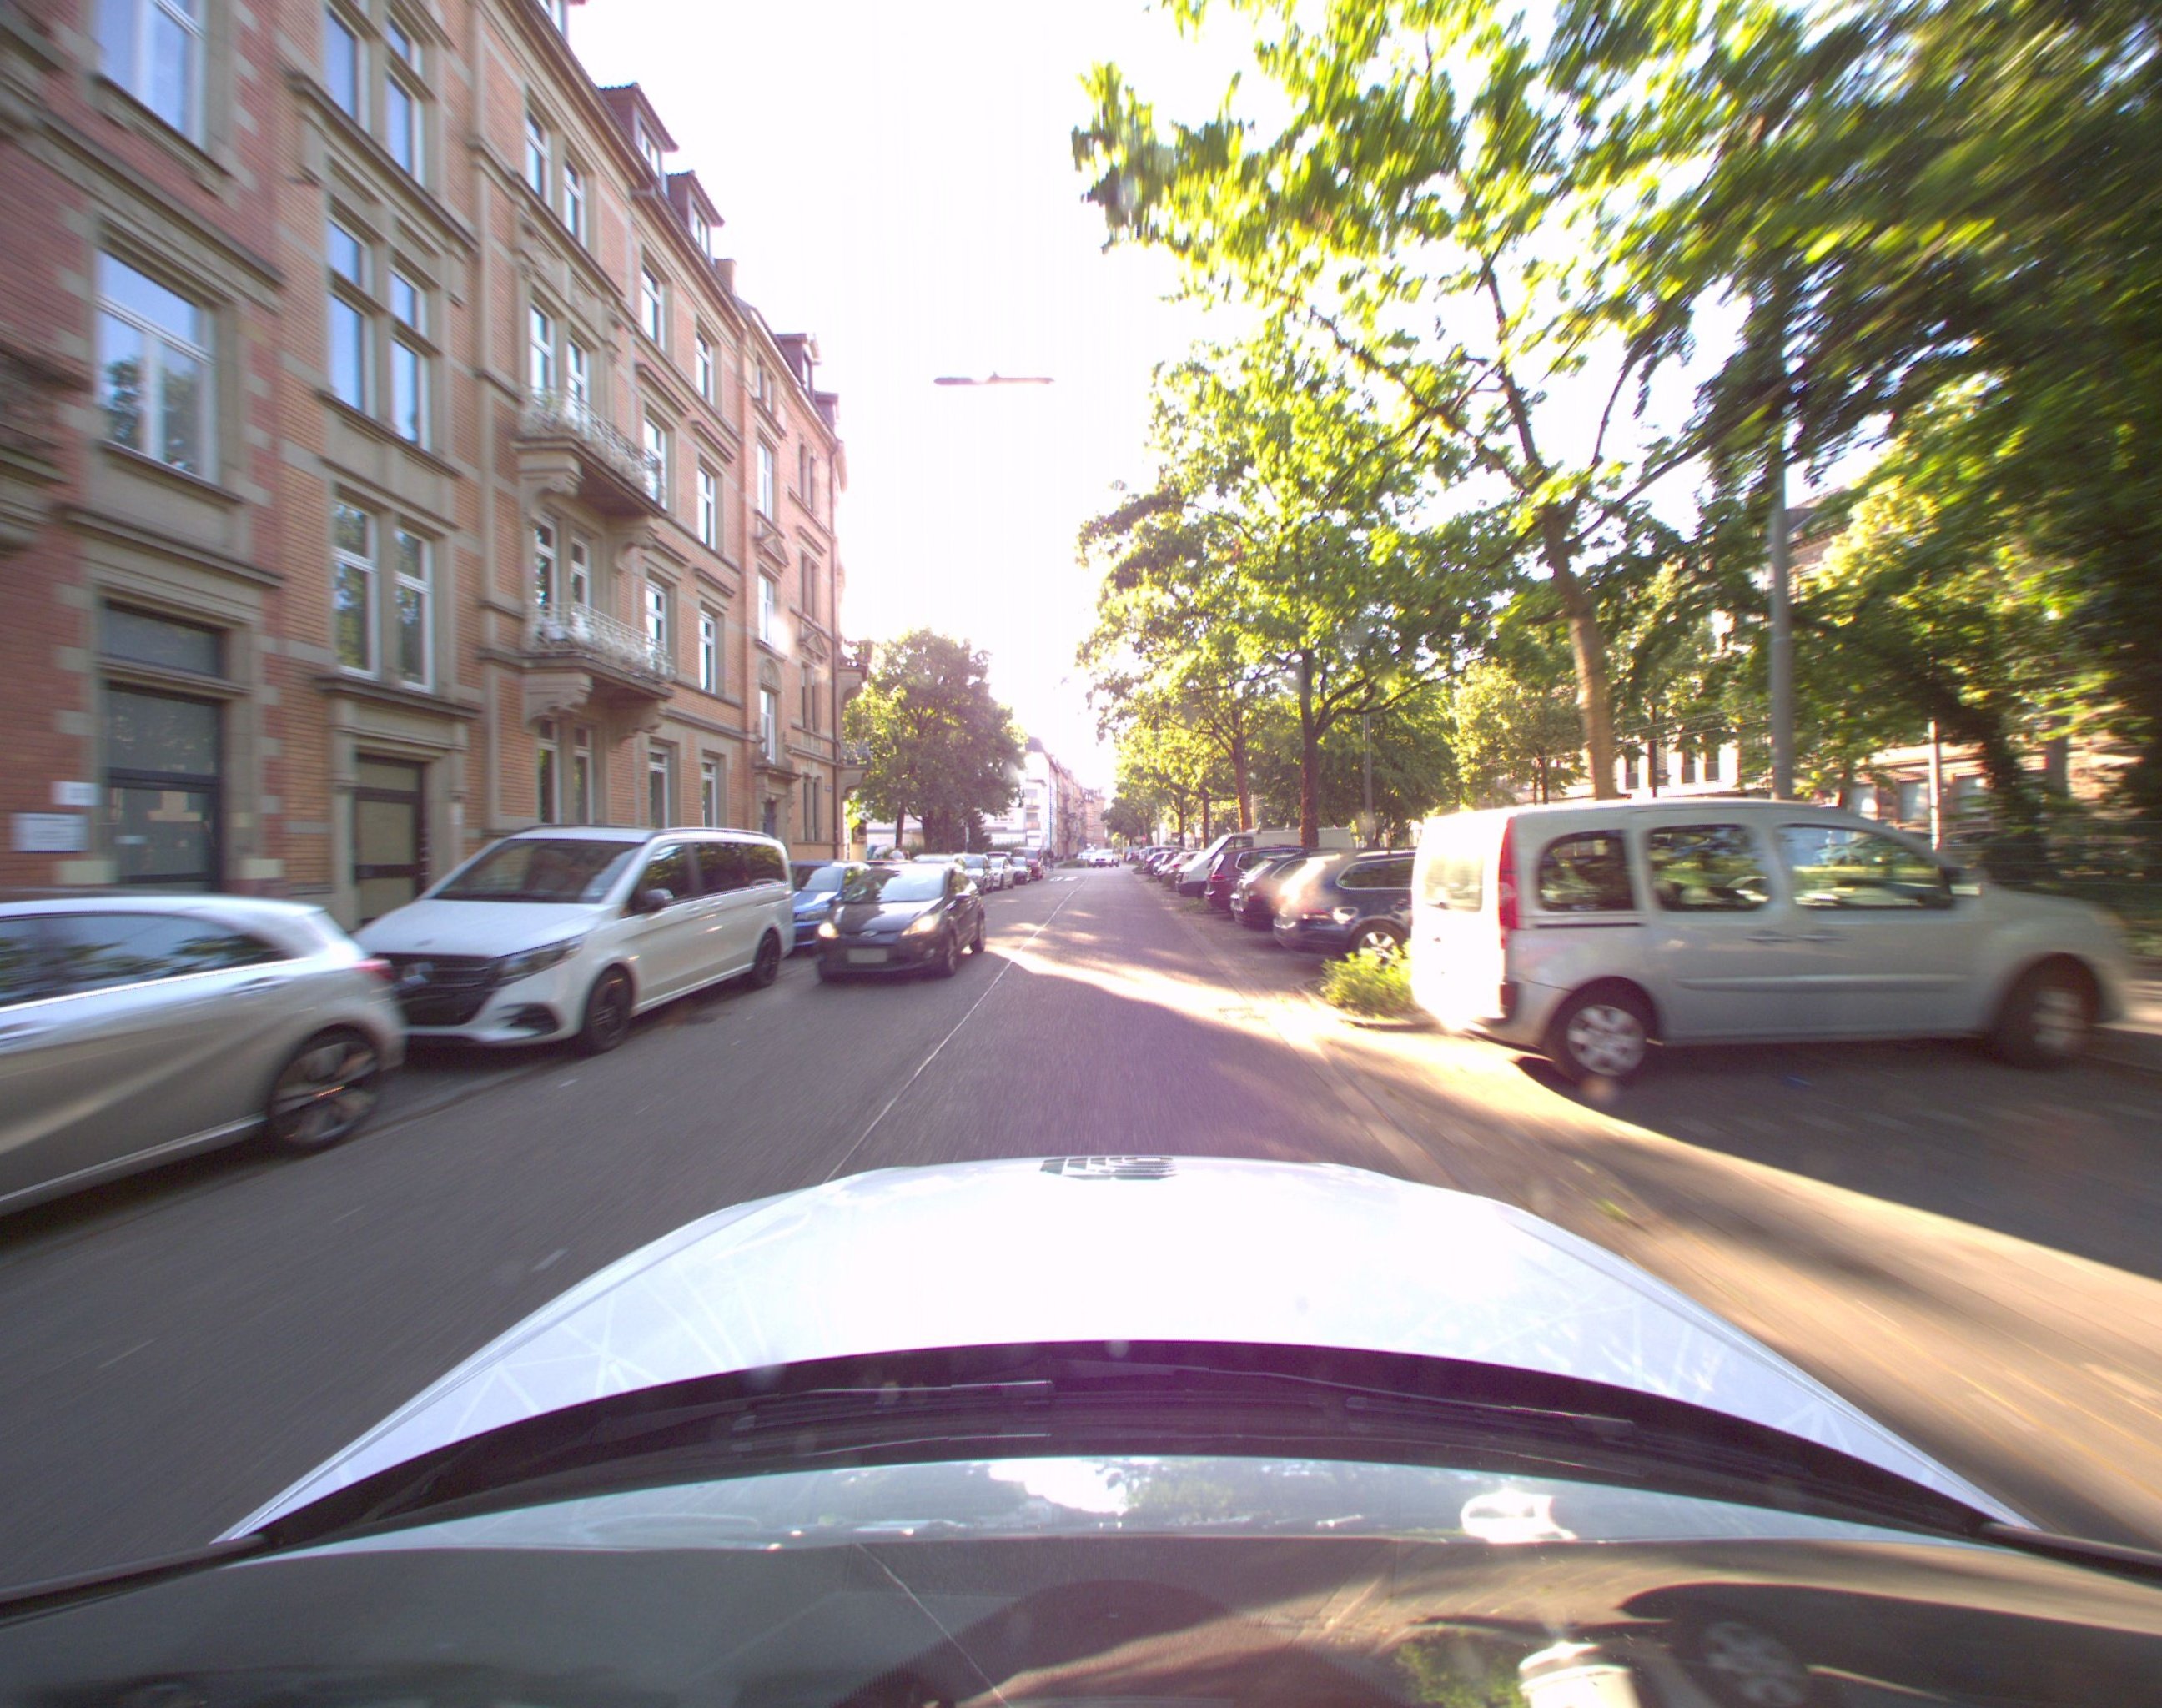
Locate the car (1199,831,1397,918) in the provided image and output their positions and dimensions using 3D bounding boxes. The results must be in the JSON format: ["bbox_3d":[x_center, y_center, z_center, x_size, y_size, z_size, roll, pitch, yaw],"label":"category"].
[{"bbox_3d":[4.780,0.437,18.398,3.970,1.691,1.861,-3,0,3],"label":"car"}]

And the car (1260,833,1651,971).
[{"bbox_3d":[4.549,0.580,10.425,4.198,1.453,1.652,-3,0,6],"label":"car"}]

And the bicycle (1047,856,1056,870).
[{"bbox_3d":[-2.479,0.776,68.085,0.641,1.100,1.938,0,-2,-7],"label":"bicycle"}]

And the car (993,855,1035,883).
[{"bbox_3d":[-3.566,0.773,43.981,1.750,1.466,4.269,0,0,2],"label":"car"}]

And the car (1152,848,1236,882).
[{"bbox_3d":[5.613,0.568,40.924,3.975,1.699,1.858,0,-2,-1],"label":"car"}]

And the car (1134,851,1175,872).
[{"bbox_3d":[7.489,0.770,82.700,3.959,2.014,2.007,0,-2,13],"label":"car"}]

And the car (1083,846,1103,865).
[{"bbox_3d":[1.252,0.159,85.420,1.986,1.838,4.000,0,-2,1],"label":"car"}]

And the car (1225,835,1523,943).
[{"bbox_3d":[4.604,0.537,13.321,4.202,1.453,1.866,-3,0,3],"label":"car"}]

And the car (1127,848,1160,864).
[{"bbox_3d":[7.940,0.302,103.861,3.959,2.014,2.007,0,-2,13],"label":"car"}]

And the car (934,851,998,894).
[{"bbox_3d":[-4.239,0.636,30.694,1.750,1.515,4.162,0,0,1],"label":"car"}]

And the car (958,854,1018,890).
[{"bbox_3d":[-3.952,0.727,35.326,1.748,1.466,4.274,0,0,5],"label":"car"}]

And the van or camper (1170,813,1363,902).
[{"bbox_3d":[5.100,0.124,22.955,4.965,2.377,2.184,0,-2,0],"label":"van or camper"}]

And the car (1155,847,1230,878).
[{"bbox_3d":[6.208,0.492,45.581,3.975,1.699,1.858,0,-2,-1],"label":"car"}]

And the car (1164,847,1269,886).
[{"bbox_3d":[5.422,0.526,32.948,3.975,1.548,1.858,0,-2,-1],"label":"car"}]

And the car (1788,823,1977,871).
[{"bbox_3d":[29.953,-0.203,30.669,4.656,1.684,2.011,-1,-2,25],"label":"car"}]

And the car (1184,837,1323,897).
[{"bbox_3d":[5.325,0.382,25.516,3.975,1.817,1.858,0,0,-1],"label":"car"}]

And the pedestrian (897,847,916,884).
[{"bbox_3d":[-7.496,0.502,35.081,0.595,1.550,0.709,-1,2,1],"label":"pedestrian"}]

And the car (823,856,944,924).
[{"bbox_3d":[-4.541,0.763,19.359,1.663,1.429,4.244,0,0,3],"label":"car"}]

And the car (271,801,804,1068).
[{"bbox_3d":[-4.765,0.639,8.390,1.986,1.921,5.040,0,-2,1],"label":"car"}]

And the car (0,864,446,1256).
[{"bbox_3d":[-4.957,0.831,3.041,1.667,1.454,4.213,-2,0,3],"label":"car"}]

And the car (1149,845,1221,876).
[{"bbox_3d":[6.080,0.404,47.885,3.975,1.825,1.858,0,-2,-1],"label":"car"}]

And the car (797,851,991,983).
[{"bbox_3d":[-2.395,0.727,11.445,1.662,1.464,4.001,-2,0,1],"label":"car"}]

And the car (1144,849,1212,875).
[{"bbox_3d":[5.974,0.520,50.562,3.975,1.563,1.858,0,-2,-1],"label":"car"}]

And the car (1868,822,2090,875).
[{"bbox_3d":[30.440,-0.136,27.840,4.656,1.684,2.011,-1,-2,25],"label":"car"}]

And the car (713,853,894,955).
[{"bbox_3d":[-4.593,0.746,14.123,1.664,1.486,4.001,1,0,1],"label":"car"}]

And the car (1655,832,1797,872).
[{"bbox_3d":[28.808,-0.053,36.575,4.656,1.684,2.011,-1,-2,25],"label":"car"}]

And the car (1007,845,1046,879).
[{"bbox_3d":[-3.242,0.463,49.512,1.950,2.018,4.269,0,0,2],"label":"car"}]

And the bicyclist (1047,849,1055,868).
[{"bbox_3d":[-2.496,0.418,68.157,0.627,1.573,0.799,0,-2,-9],"label":"bicyclist"}]

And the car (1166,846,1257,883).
[{"bbox_3d":[6.087,0.500,38.262,3.975,1.699,1.858,0,-2,-1],"label":"car"}]

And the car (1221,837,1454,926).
[{"bbox_3d":[4.874,0.506,15.931,3.970,1.461,1.861,-3,0,3],"label":"car"}]

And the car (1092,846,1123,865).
[{"bbox_3d":[2.463,0.146,73.775,1.765,1.674,4.505,0,0,15],"label":"car"}]

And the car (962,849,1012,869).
[{"bbox_3d":[-8.088,0.433,70.039,3.970,1.706,2.001,0,-2,3],"label":"car"}]

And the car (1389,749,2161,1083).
[{"bbox_3d":[4.673,0.390,5.865,4.202,1.864,1.763,-3,0,3],"label":"car"}]

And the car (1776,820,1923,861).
[{"bbox_3d":[35.789,-0.569,38.111,1.995,1.687,4.719,0,-2,-12],"label":"car"}]

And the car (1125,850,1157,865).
[{"bbox_3d":[8.177,0.479,110.717,3.959,2.014,2.007,0,-2,13],"label":"car"}]

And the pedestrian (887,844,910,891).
[{"bbox_3d":[-6.644,0.491,29.707,0.595,1.668,0.709,-1,2,1],"label":"pedestrian"}]

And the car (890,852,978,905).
[{"bbox_3d":[-4.375,0.682,24.795,1.696,1.429,3.881,1,0,4],"label":"car"}]

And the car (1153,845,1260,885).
[{"bbox_3d":[5.411,0.478,35.567,4.377,1.699,1.858,0,-2,-1],"label":"car"}]

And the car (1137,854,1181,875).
[{"bbox_3d":[7.618,0.996,79.148,3.959,2.014,2.007,0,-2,13],"label":"car"}]

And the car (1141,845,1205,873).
[{"bbox_3d":[5.986,0.348,53.237,3.975,1.794,1.858,0,-2,-1],"label":"car"}]

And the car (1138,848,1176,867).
[{"bbox_3d":[8.427,0.375,90.542,3.959,2.014,2.007,0,-2,13],"label":"car"}]
